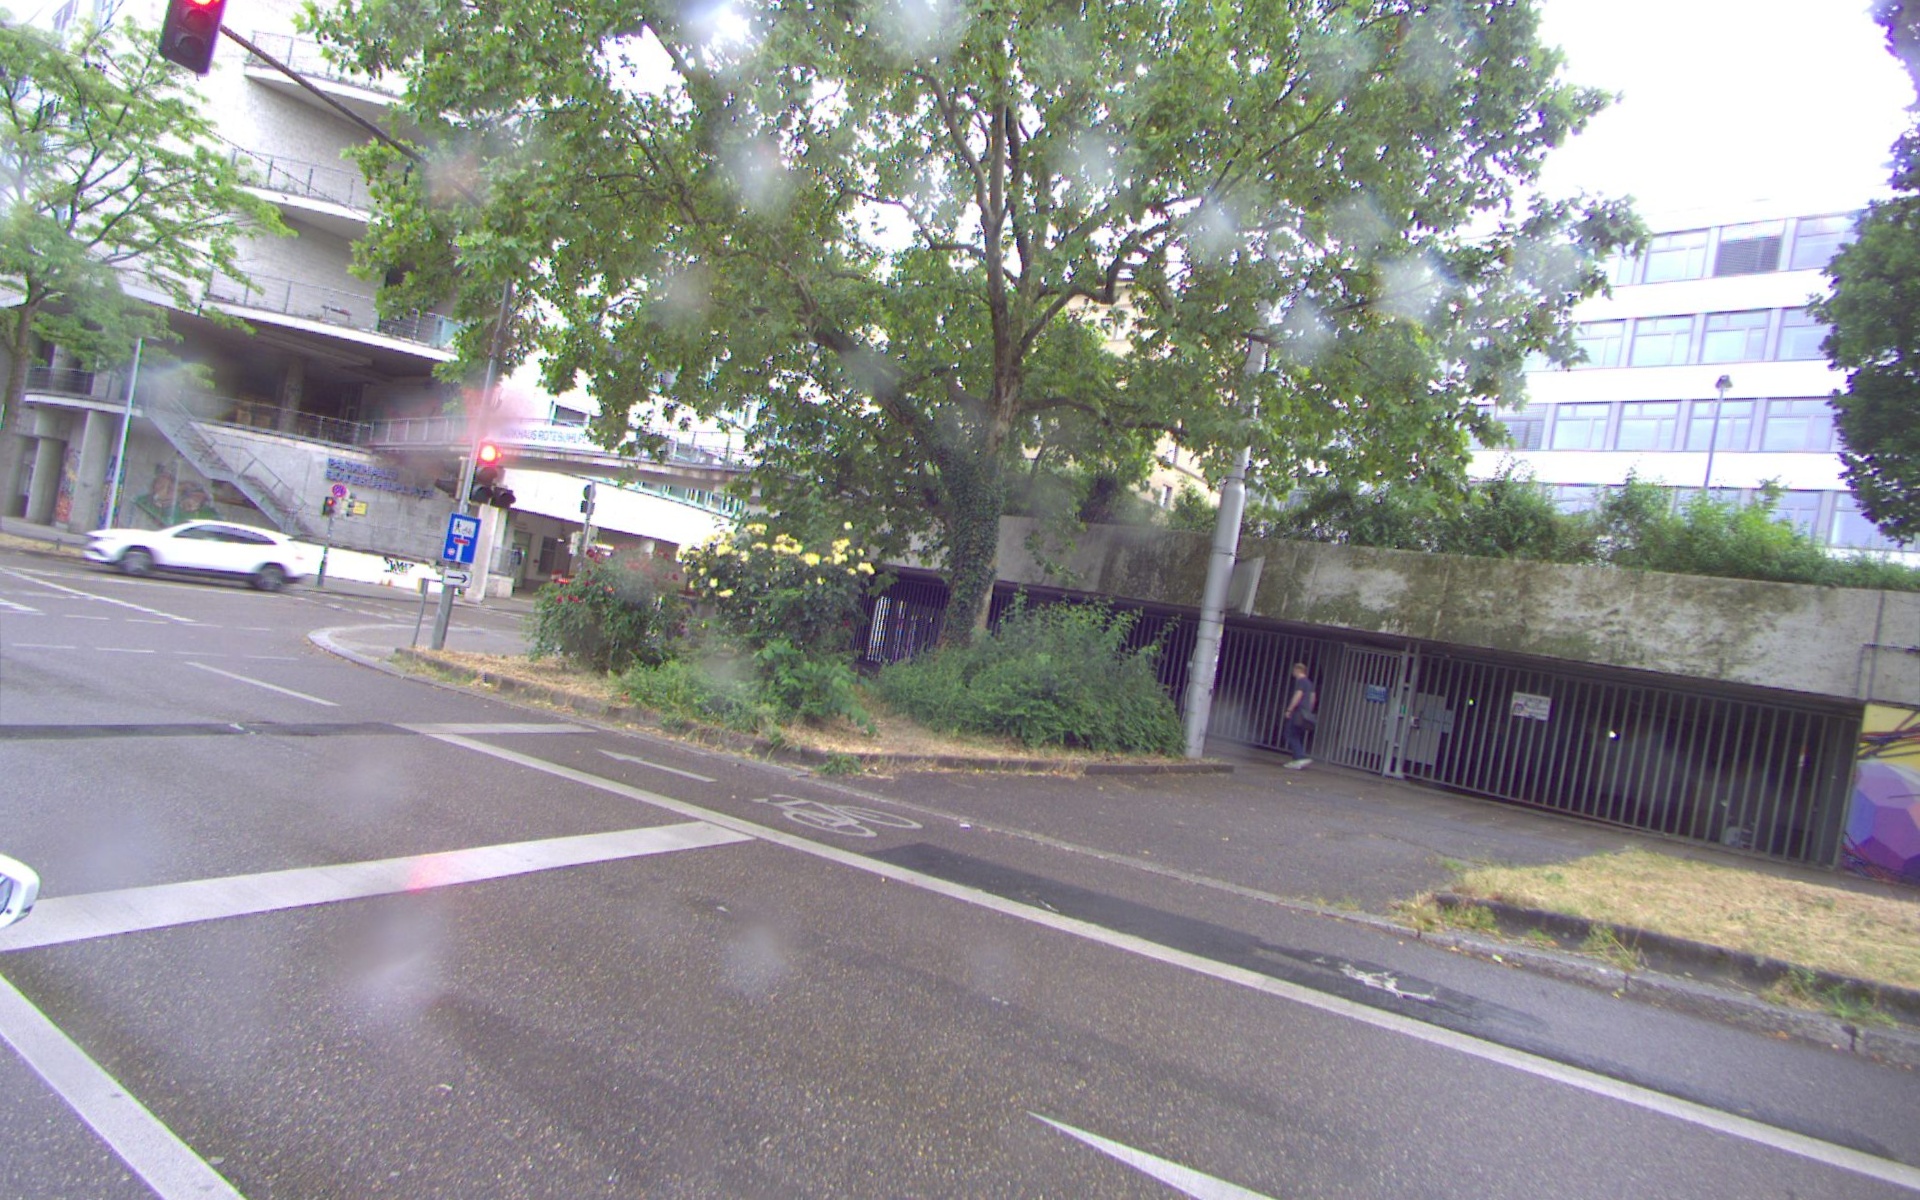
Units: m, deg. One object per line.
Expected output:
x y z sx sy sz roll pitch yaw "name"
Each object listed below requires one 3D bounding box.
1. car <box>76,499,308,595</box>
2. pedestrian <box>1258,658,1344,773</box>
-19.284 -1.296 25.417 1.729 1.703 4.336 6 -2 44 "car"
6.089 2.051 17.970 1.041 1.886 0.806 7 -1 41 "pedestrian"
